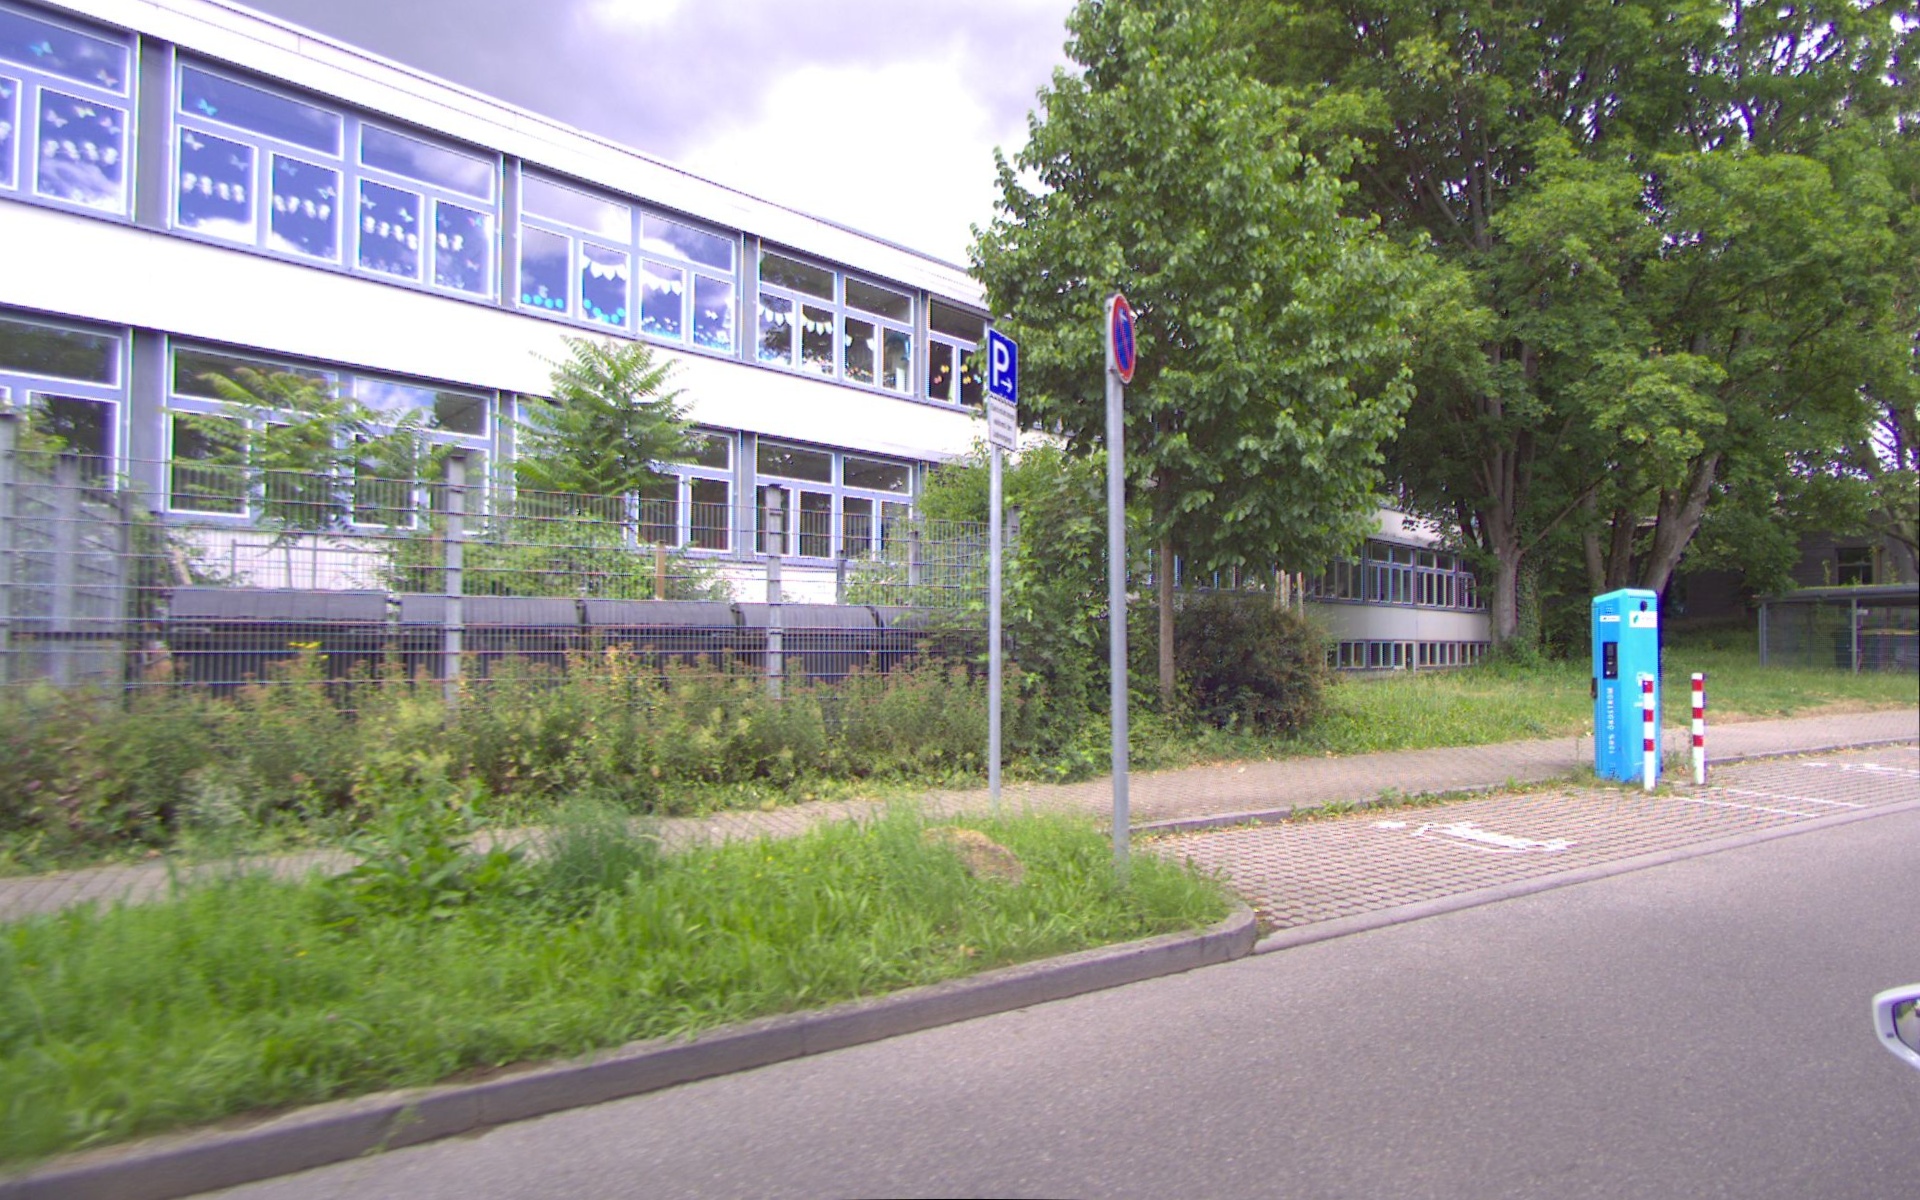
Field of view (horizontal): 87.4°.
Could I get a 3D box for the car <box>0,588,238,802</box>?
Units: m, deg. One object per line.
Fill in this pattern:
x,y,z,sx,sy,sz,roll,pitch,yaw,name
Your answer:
-10.159,0.940,10.366,3.937,2.040,1.992,0,-2,-18,car
